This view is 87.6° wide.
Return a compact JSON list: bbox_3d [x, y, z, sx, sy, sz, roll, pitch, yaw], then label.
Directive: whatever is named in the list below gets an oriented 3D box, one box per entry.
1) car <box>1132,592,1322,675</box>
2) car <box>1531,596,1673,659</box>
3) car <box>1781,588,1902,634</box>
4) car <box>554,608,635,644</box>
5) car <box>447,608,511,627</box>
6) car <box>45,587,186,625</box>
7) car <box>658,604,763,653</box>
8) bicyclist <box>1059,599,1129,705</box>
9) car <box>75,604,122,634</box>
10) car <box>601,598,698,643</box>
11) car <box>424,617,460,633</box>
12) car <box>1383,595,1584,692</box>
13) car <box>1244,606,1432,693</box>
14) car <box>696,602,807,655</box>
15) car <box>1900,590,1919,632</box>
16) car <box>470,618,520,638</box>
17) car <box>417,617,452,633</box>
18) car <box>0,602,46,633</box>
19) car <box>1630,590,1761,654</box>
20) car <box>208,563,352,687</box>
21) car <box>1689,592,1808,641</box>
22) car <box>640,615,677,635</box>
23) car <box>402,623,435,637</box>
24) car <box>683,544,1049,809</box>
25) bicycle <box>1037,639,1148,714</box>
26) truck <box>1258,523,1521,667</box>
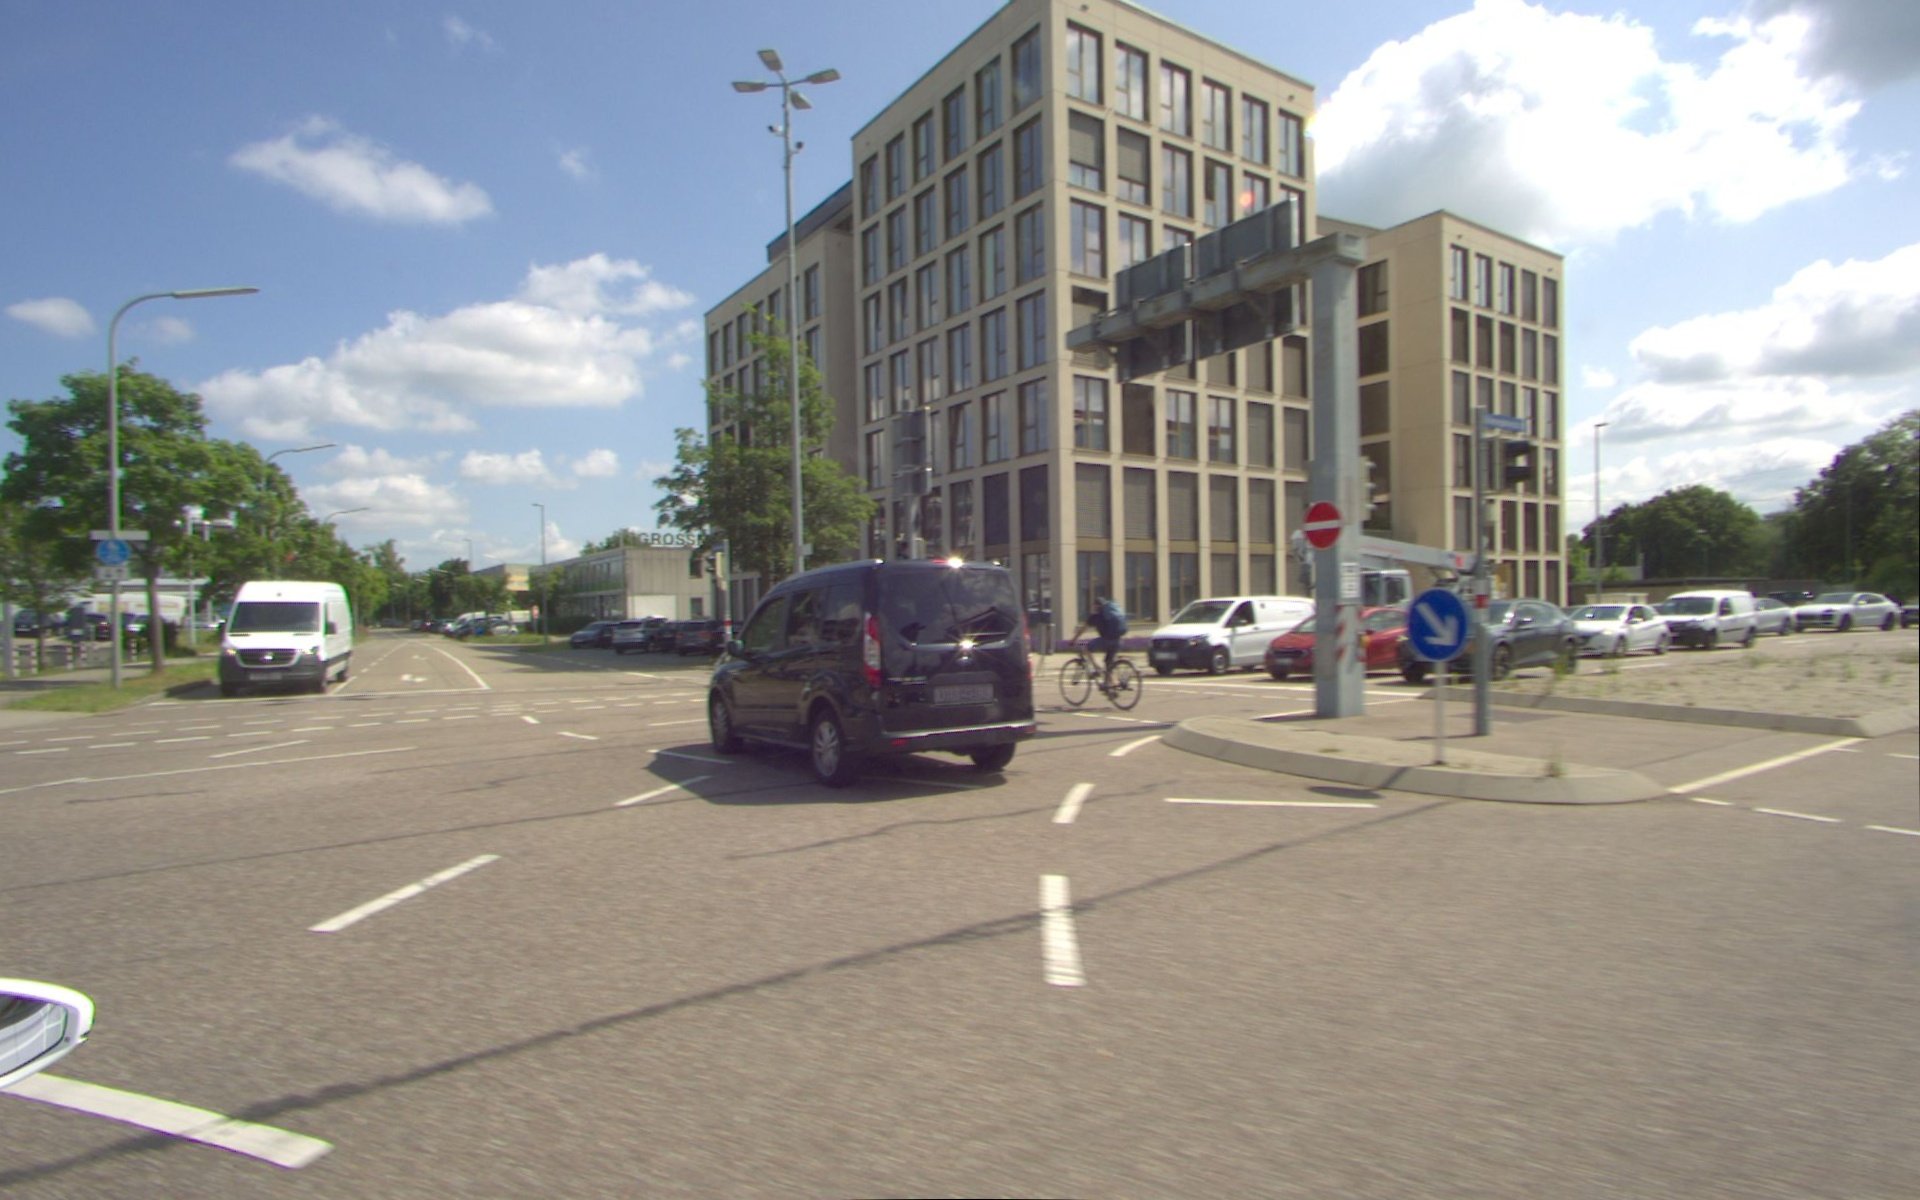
[{"bbox_3d":[6.674,0.845,24.799,4.934,1.861,1.985,2,-2,-38],"label":"car"},{"bbox_3d":[17.918,0.784,27.899,4.156,1.647,1.817,1,-2,-33],"label":"car"},{"bbox_3d":[37.507,0.520,42.600,4.634,1.861,1.824,1,-2,-19],"label":"car"},{"bbox_3d":[-21.027,1.526,57.692,3.954,2.039,1.985,2,-2,-38],"label":"car"},{"bbox_3d":[-54.163,1.970,112.754,6.276,2.039,2.558,1,-2,-32],"label":"car"},{"bbox_3d":[-50.865,0.393,60.552,6.328,2.129,1.753,2,-2,-35],"label":"car"},{"bbox_3d":[-10.784,1.254,43.332,3.954,2.039,1.985,2,-2,-38],"label":"car"},{"bbox_3d":[1.952,0.749,14.668,0.628,1.496,0.912,1,-1,-26],"label":"bicyclist"},{"bbox_3d":[-46.745,1.079,54.409,1.546,1.572,3.579,1,-2,-35],"label":"car"},{"bbox_3d":[-14.730,1.021,47.539,3.954,2.039,1.985,2,-2,-38],"label":"car"},{"bbox_3d":[-68.461,3.330,132.425,3.954,2.039,1.985,2,-2,-38],"label":"car"},{"bbox_3d":[9.939,0.809,18.917,4.162,1.647,1.814,2,-2,-38],"label":"car"},{"bbox_3d":[7.995,1.019,21.037,4.162,1.647,1.814,2,-2,-38],"label":"car"},{"bbox_3d":[-8.433,1.168,40.566,3.954,2.039,1.985,2,-2,-38],"label":"car"},{"bbox_3d":[44.850,0.497,45.145,4.370,1.861,1.824,1,-2,-19],"label":"car"},{"bbox_3d":[-42.034,2.584,90.576,3.944,1.772,1.990,1,-2,-31],"label":"car"},{"bbox_3d":[-71.011,3.384,135.319,3.954,2.039,1.985,2,-2,-38],"label":"car"},{"bbox_3d":[-49.847,0.969,53.101,1.546,1.572,3.579,1,-2,-35],"label":"car"},{"bbox_3d":[22.941,0.724,31.211,4.385,1.861,1.818,1,-2,-32],"label":"car"},{"bbox_3d":[-16.673,0.653,24.933,2.107,2.640,6.835,1,-2,-27],"label":"car"},{"bbox_3d":[31.808,0.710,40.372,4.650,1.861,1.822,1,-2,-24],"label":"car"},{"bbox_3d":[-26.334,2.198,87.368,1.975,1.705,3.974,1,-2,-35],"label":"car"},{"bbox_3d":[-80.071,4.430,148.133,3.954,2.039,1.985,2,-2,-38],"label":"car"},{"bbox_3d":[-1.100,0.602,9.447,1.805,1.929,3.975,0,-1,-33],"label":"car"},{"bbox_3d":[1.908,1.087,14.752,0.639,1.024,1.970,1,-2,-26],"label":"bicycle"},{"bbox_3d":[12.698,0.037,29.049,9.667,3.600,2.655,2,-2,-37],"label":"truck"}]
